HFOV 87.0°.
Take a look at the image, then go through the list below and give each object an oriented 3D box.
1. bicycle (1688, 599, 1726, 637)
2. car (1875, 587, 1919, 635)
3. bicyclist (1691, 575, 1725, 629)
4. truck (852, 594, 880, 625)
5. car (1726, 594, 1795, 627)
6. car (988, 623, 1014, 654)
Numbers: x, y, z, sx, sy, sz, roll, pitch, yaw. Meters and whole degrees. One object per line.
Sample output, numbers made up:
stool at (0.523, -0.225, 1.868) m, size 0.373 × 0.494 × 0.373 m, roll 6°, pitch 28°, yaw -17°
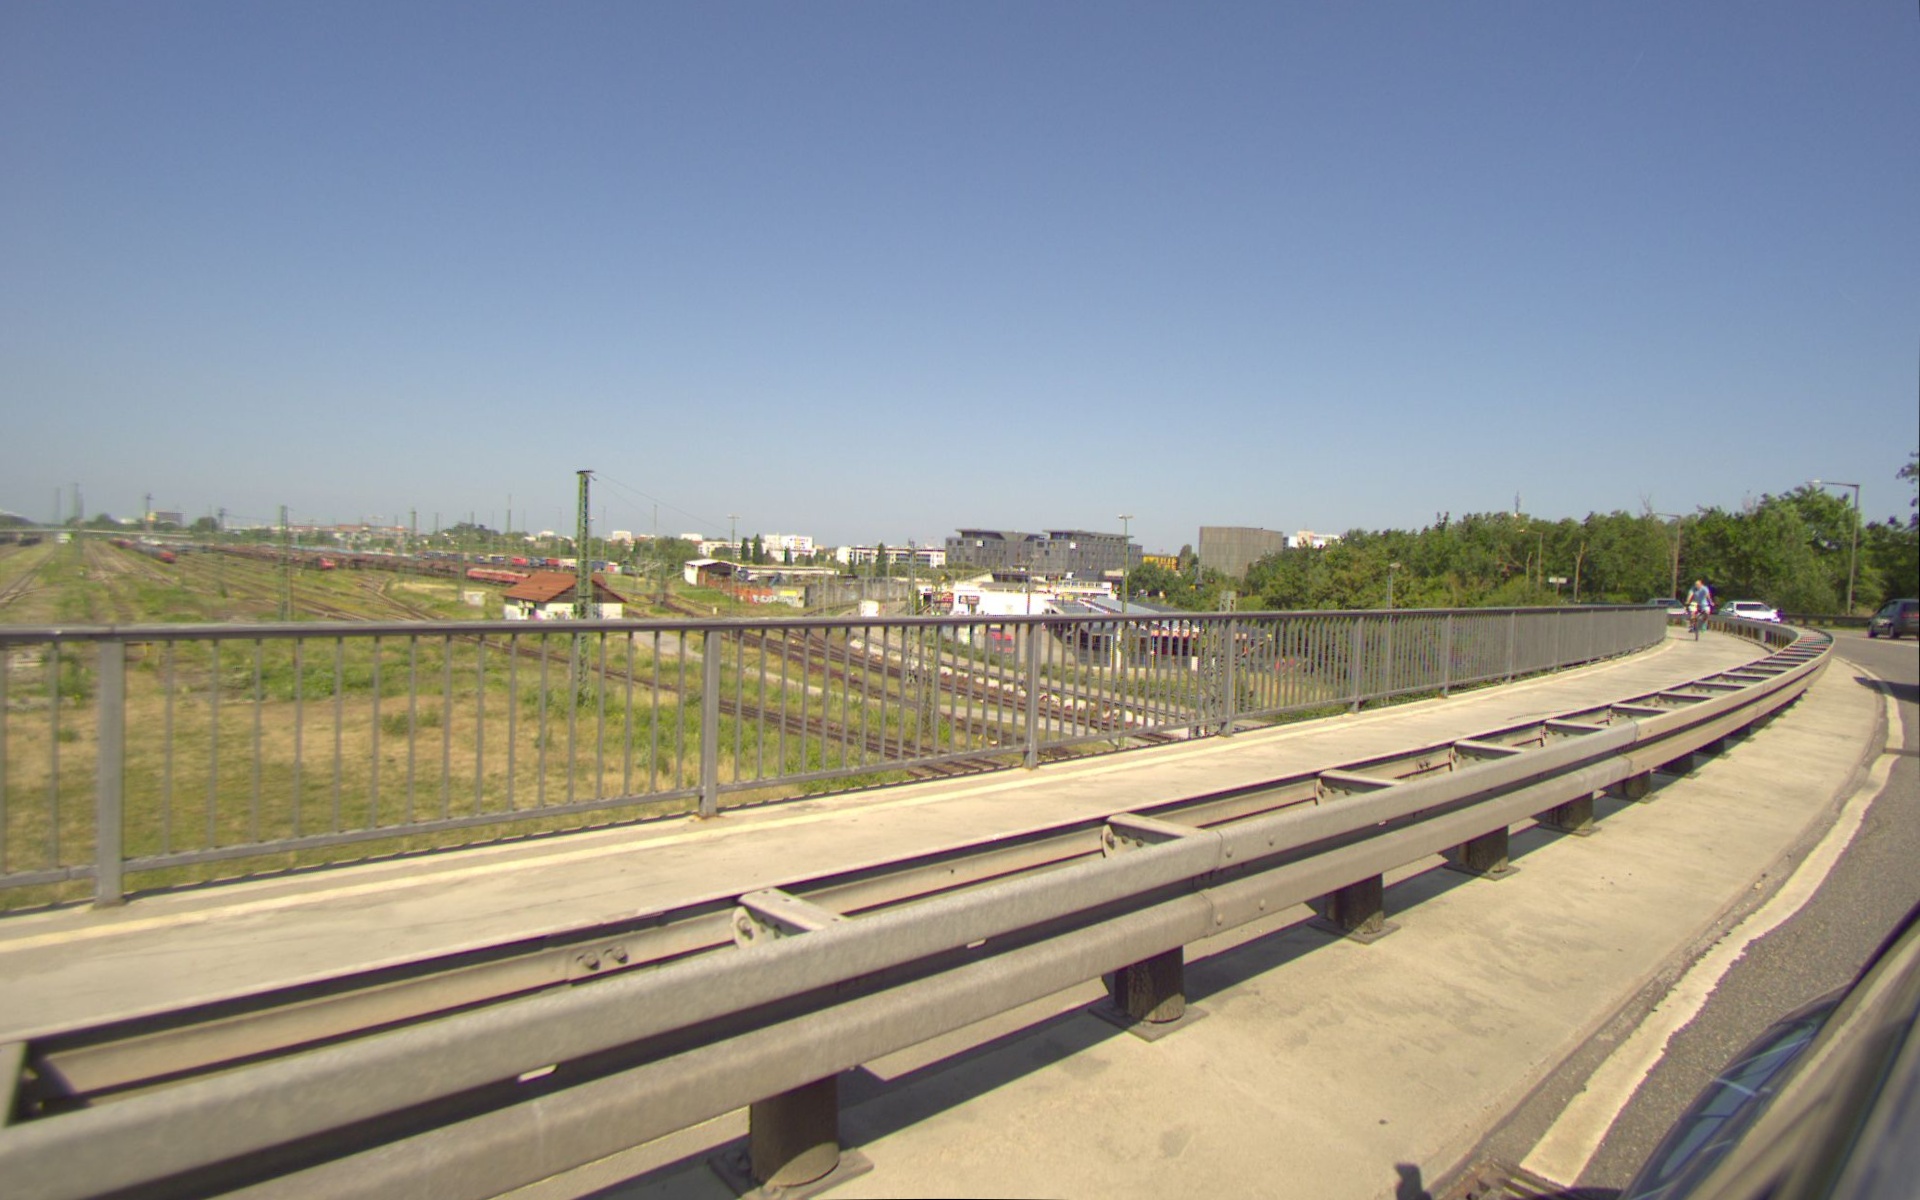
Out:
bicycle at (22.164, 0.519, 30.041) m, size 0.699 × 1.032 × 1.824 m, roll 5°, pitch 2°, yaw 32°
car at (36.891, 0.390, 38.825) m, size 1.663 × 1.749 × 3.673 m, roll 0°, pitch 1°, yaw 26°
bicyclist at (22.203, 0.071, 30.033) m, size 0.656 × 1.538 × 0.793 m, roll 4°, pitch 1°, yaw 32°
truck at (-14.373, 1.351, 153.916) m, size 3.745 × 4.079 × 13.291 m, roll 3°, pitch 1°, yaw -7°
car at (38.689, 0.499, 48.992) m, size 1.830 × 1.507 × 4.112 m, roll 0°, pitch 0°, yaw 27°
car at (4.306, 3.989, 106.201) m, size 2.264 × 2.695 × 5.381 m, roll -4°, pitch 2°, yaw -1°
